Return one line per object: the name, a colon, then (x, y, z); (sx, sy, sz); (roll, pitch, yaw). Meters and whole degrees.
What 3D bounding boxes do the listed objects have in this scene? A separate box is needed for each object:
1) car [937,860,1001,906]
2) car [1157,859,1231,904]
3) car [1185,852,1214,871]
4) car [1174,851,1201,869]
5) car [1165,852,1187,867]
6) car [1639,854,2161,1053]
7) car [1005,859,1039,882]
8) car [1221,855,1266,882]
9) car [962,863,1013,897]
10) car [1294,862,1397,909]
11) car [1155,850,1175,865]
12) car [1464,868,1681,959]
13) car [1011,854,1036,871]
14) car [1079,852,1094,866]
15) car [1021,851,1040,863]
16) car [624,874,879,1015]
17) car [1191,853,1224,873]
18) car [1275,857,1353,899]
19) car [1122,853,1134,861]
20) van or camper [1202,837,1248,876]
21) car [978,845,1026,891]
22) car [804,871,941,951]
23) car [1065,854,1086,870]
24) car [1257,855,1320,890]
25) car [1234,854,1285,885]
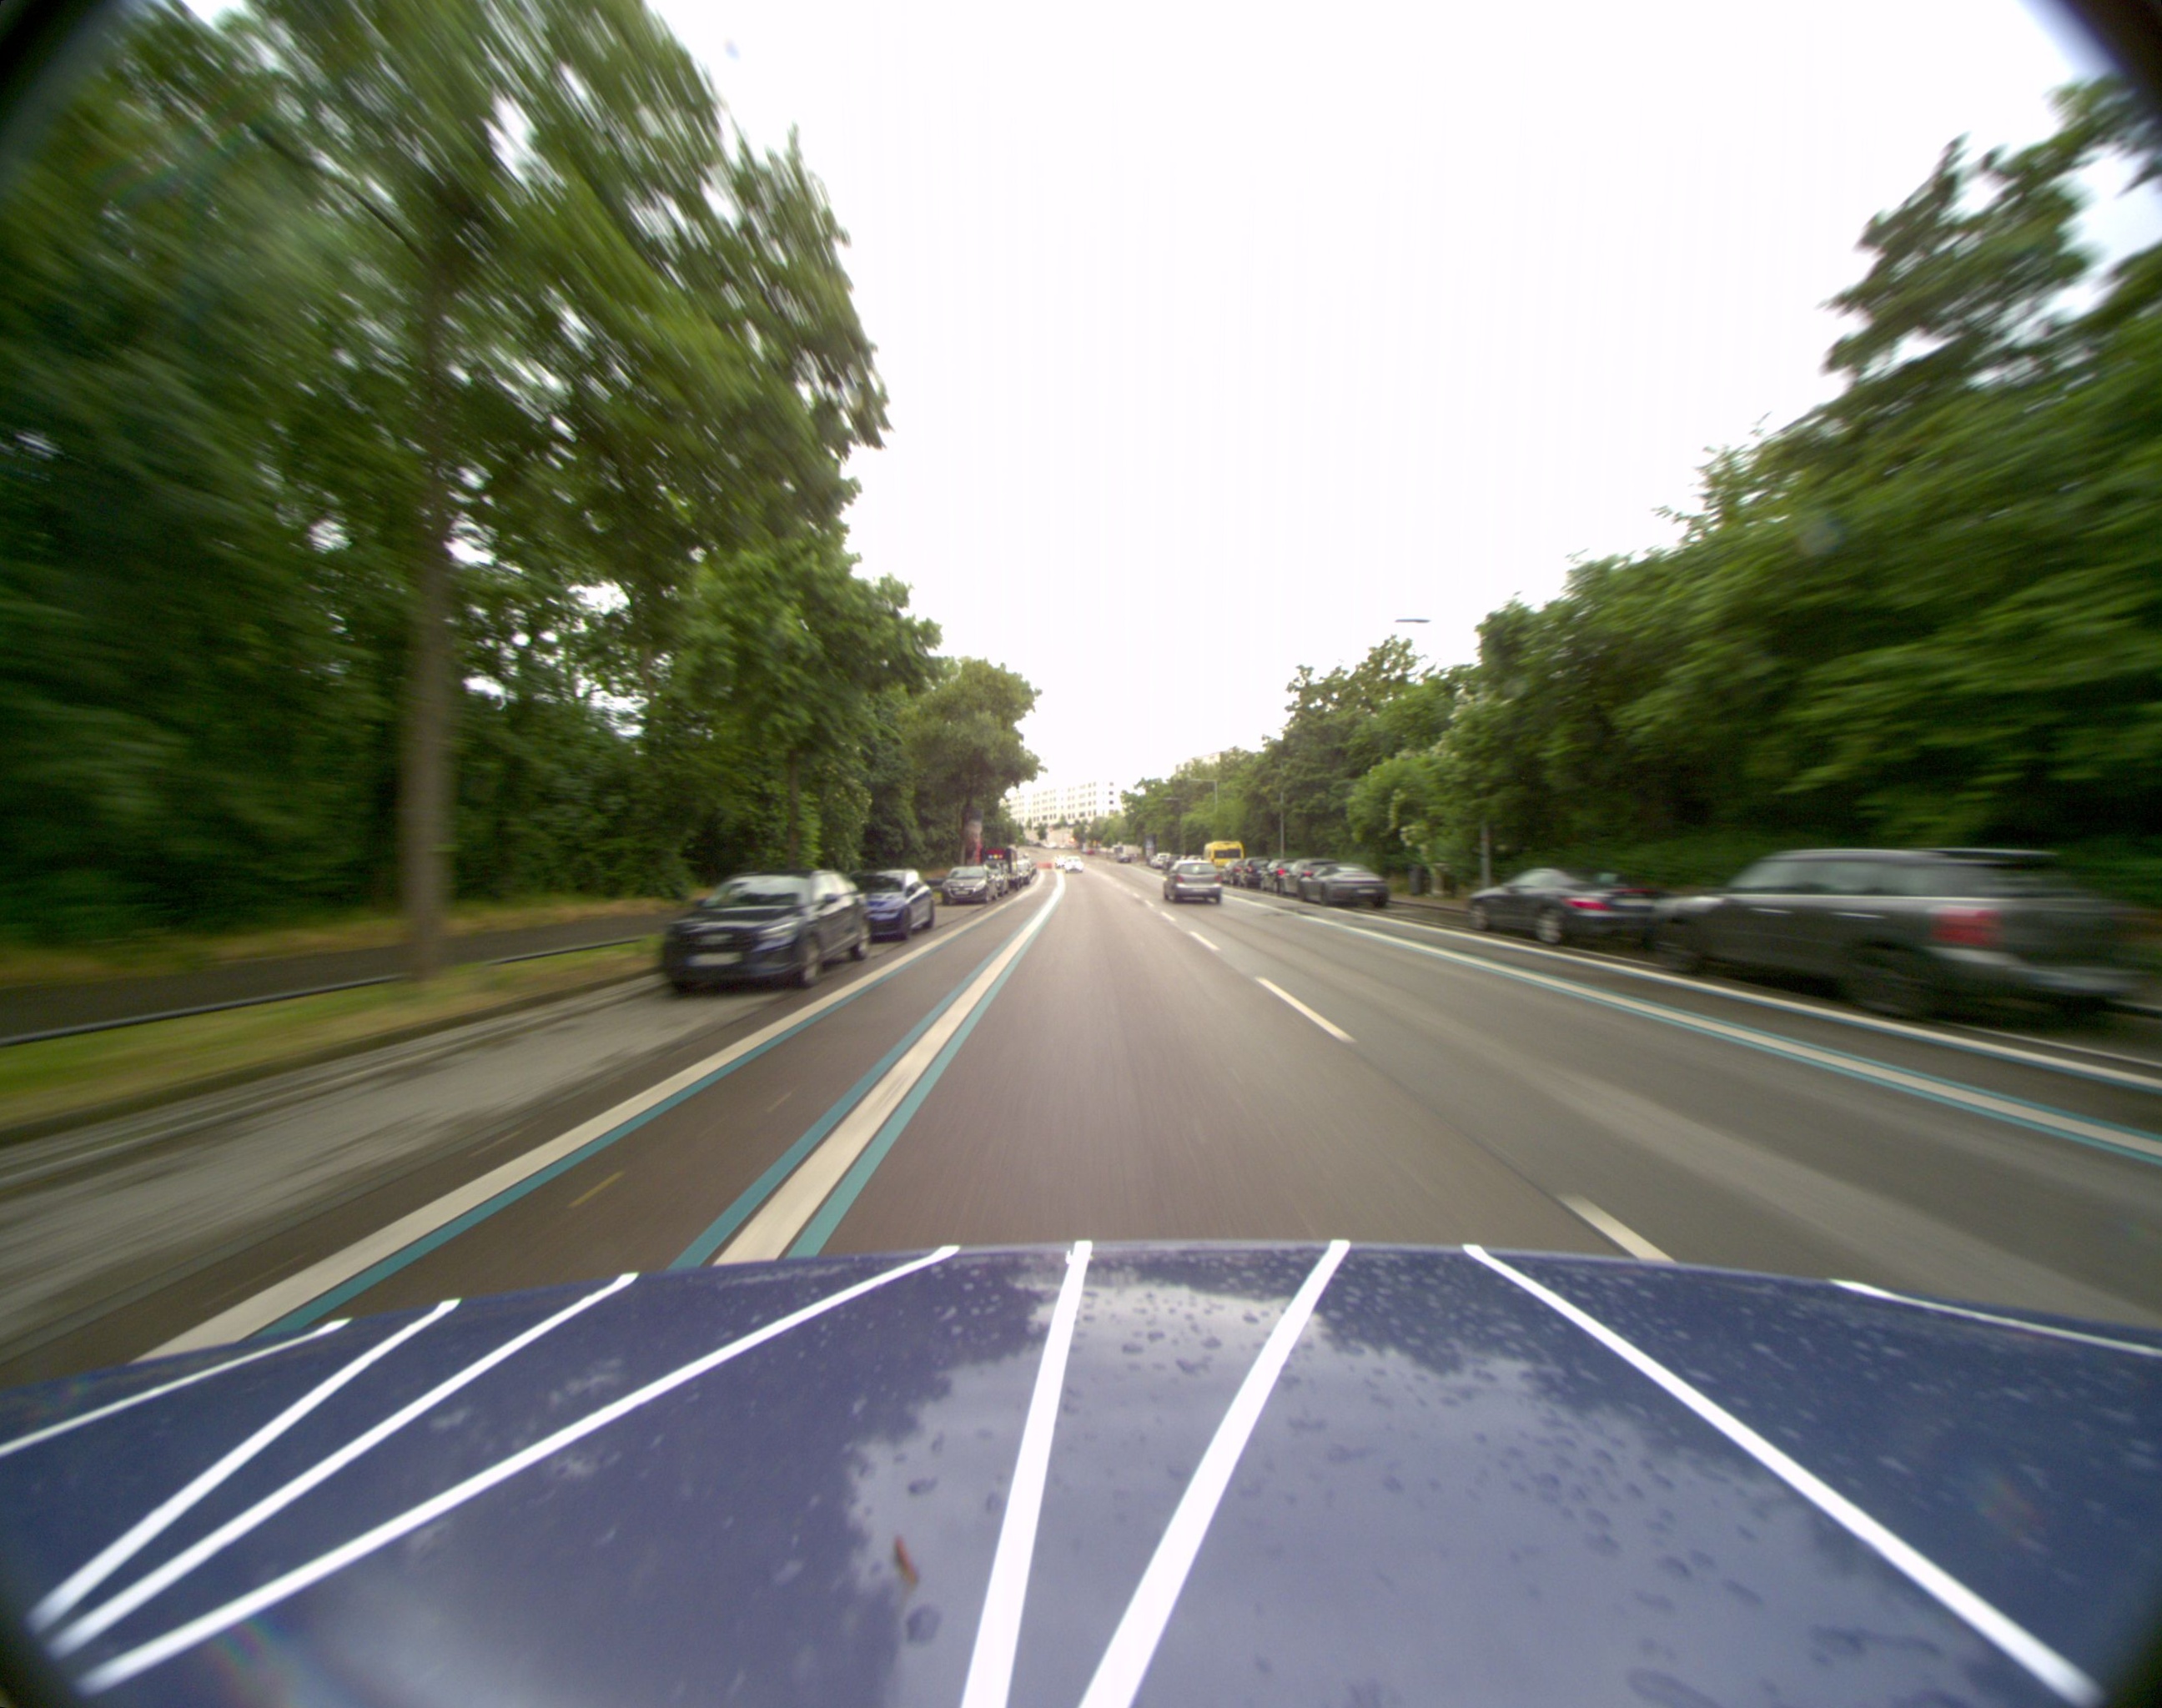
car: (-4.225, 1.054, 29.228); (1.804, 1.589, 4.000); (-1, 0, 0)
car: (3.881, 0.905, 26.693); (1.805, 1.394, 3.999); (-1, 0, -3)
car: (9.432, 0.616, 60.684); (1.825, 1.427, 3.559); (-1, 0, 1)
car: (9.281, 0.533, 66.392); (1.825, 1.514, 3.559); (-1, 0, 1)
car: (9.672, 0.579, 77.709); (1.825, 1.427, 3.559); (-1, 0, 1)
car: (8.277, 0.806, 8.094); (1.819, 1.579, 3.992); (-1, 0, 2)
car: (-3.875, 1.059, 50.733); (1.862, 1.361, 3.999); (-2, 1, 1)
car: (9.235, 0.798, 43.303); (1.825, 1.427, 3.559); (-1, 0, 1)
car: (-4.227, 1.150, 34.989); (1.804, 1.394, 4.000); (-1, 0, 0)
car: (8.214, 0.924, 23.980); (1.825, 1.285, 4.206); (-1, 0, 1)
car: (9.382, 0.383, 85.335); (1.825, 1.650, 3.559); (-1, 0, 1)
car: (8.388, 0.945, 13.370); (1.513, 1.285, 3.597); (-1, 0, 1)
car: (-5.160, 0.744, 68.313); (1.862, 1.361, 3.999); (-2, 1, 1)
car: (0.678, 0.618, 93.684); (1.850, 1.719, 3.730); (-1, 0, 1)
car: (-6.018, 0.376, 90.759); (1.862, 1.361, 4.000); (-1, 0, 1)
car: (-4.298, 1.088, 10.698); (1.804, 1.455, 4.000); (-1, 0, 0)
car: (9.353, 0.667, 56.426); (1.825, 1.427, 3.559); (-1, 0, 1)
car: (8.709, 0.853, 28.694); (1.825, 1.427, 3.773); (-1, 0, 1)
car: (7.790, 0.479, 125.973); (1.825, 1.427, 3.558); (0, 0, 1)
van or camper: (9.293, 0.146, 49.503); (2.165, 2.437, 4.436); (-1, 0, 1)
car: (-4.189, 0.697, 40.756); (1.998, 2.231, 3.999); (-2, 1, 1)
car: (-4.316, 1.129, 16.362); (1.804, 1.370, 4.000); (-1, 0, 0)
car: (-0.521, 0.779, 76.993); (1.998, 1.589, 4.000); (-2, 0, 1)
car: (9.141, 0.789, 33.746); (1.825, 1.427, 3.773); (-1, 0, 1)
car: (9.195, 0.772, 39.332); (1.825, 1.470, 3.559); (-1, 0, 1)
